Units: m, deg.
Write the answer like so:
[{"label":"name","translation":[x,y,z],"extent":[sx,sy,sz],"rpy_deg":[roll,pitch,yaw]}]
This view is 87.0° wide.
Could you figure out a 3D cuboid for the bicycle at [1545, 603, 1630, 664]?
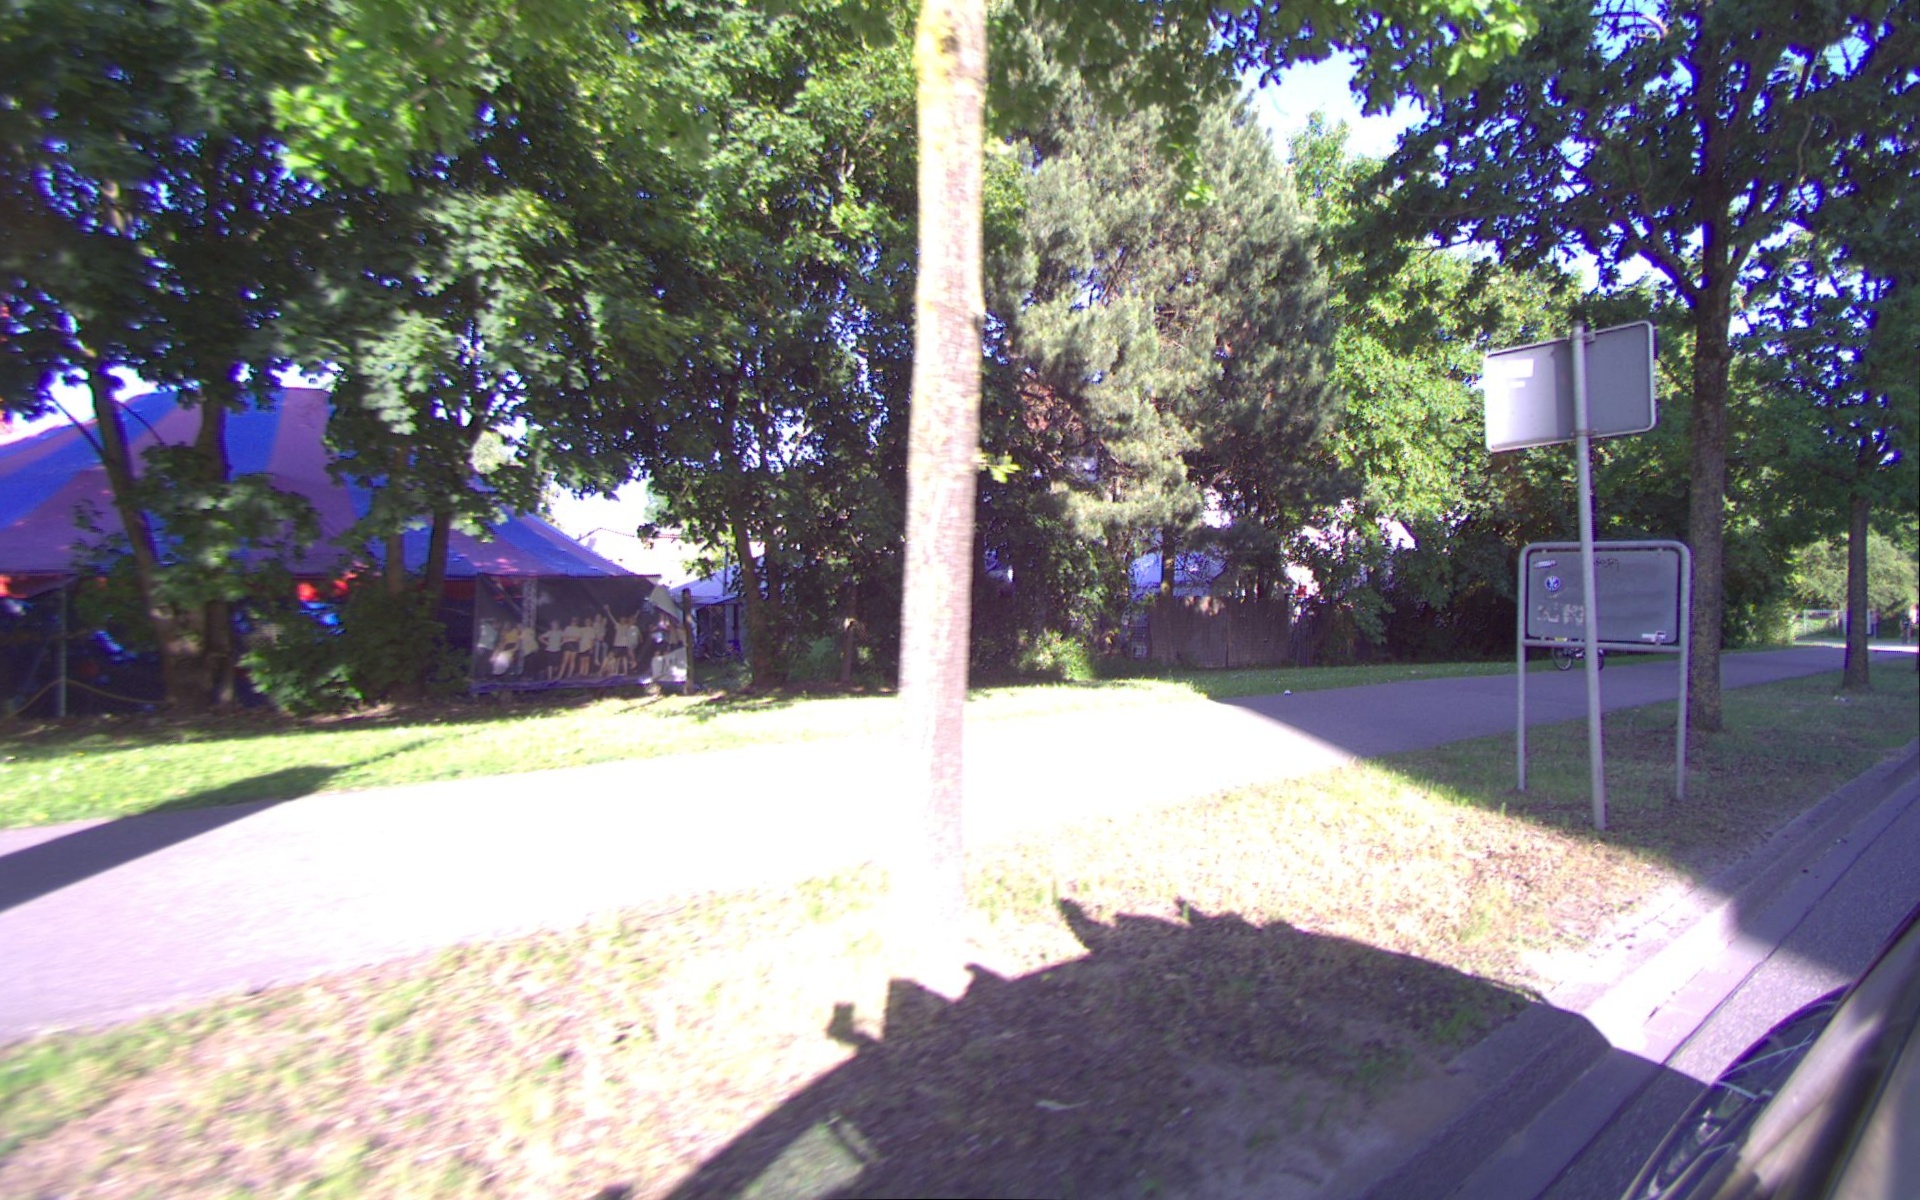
[{"label":"bicycle","translation":[12.328,0.641,19.872],"extent":[1.675,1.145,0.777],"rpy_deg":[1,0,-33]}]

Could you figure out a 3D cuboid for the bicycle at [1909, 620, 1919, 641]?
[{"label":"bicycle","translation":[51.707,1.625,54.667],"extent":[1.904,1.086,0.516],"rpy_deg":[1,0,-44]}]

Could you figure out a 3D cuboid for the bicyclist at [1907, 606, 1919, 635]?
[{"label":"bicyclist","translation":[51.750,1.106,54.731],"extent":[1.019,1.541,0.685],"rpy_deg":[1,0,-44]}]
